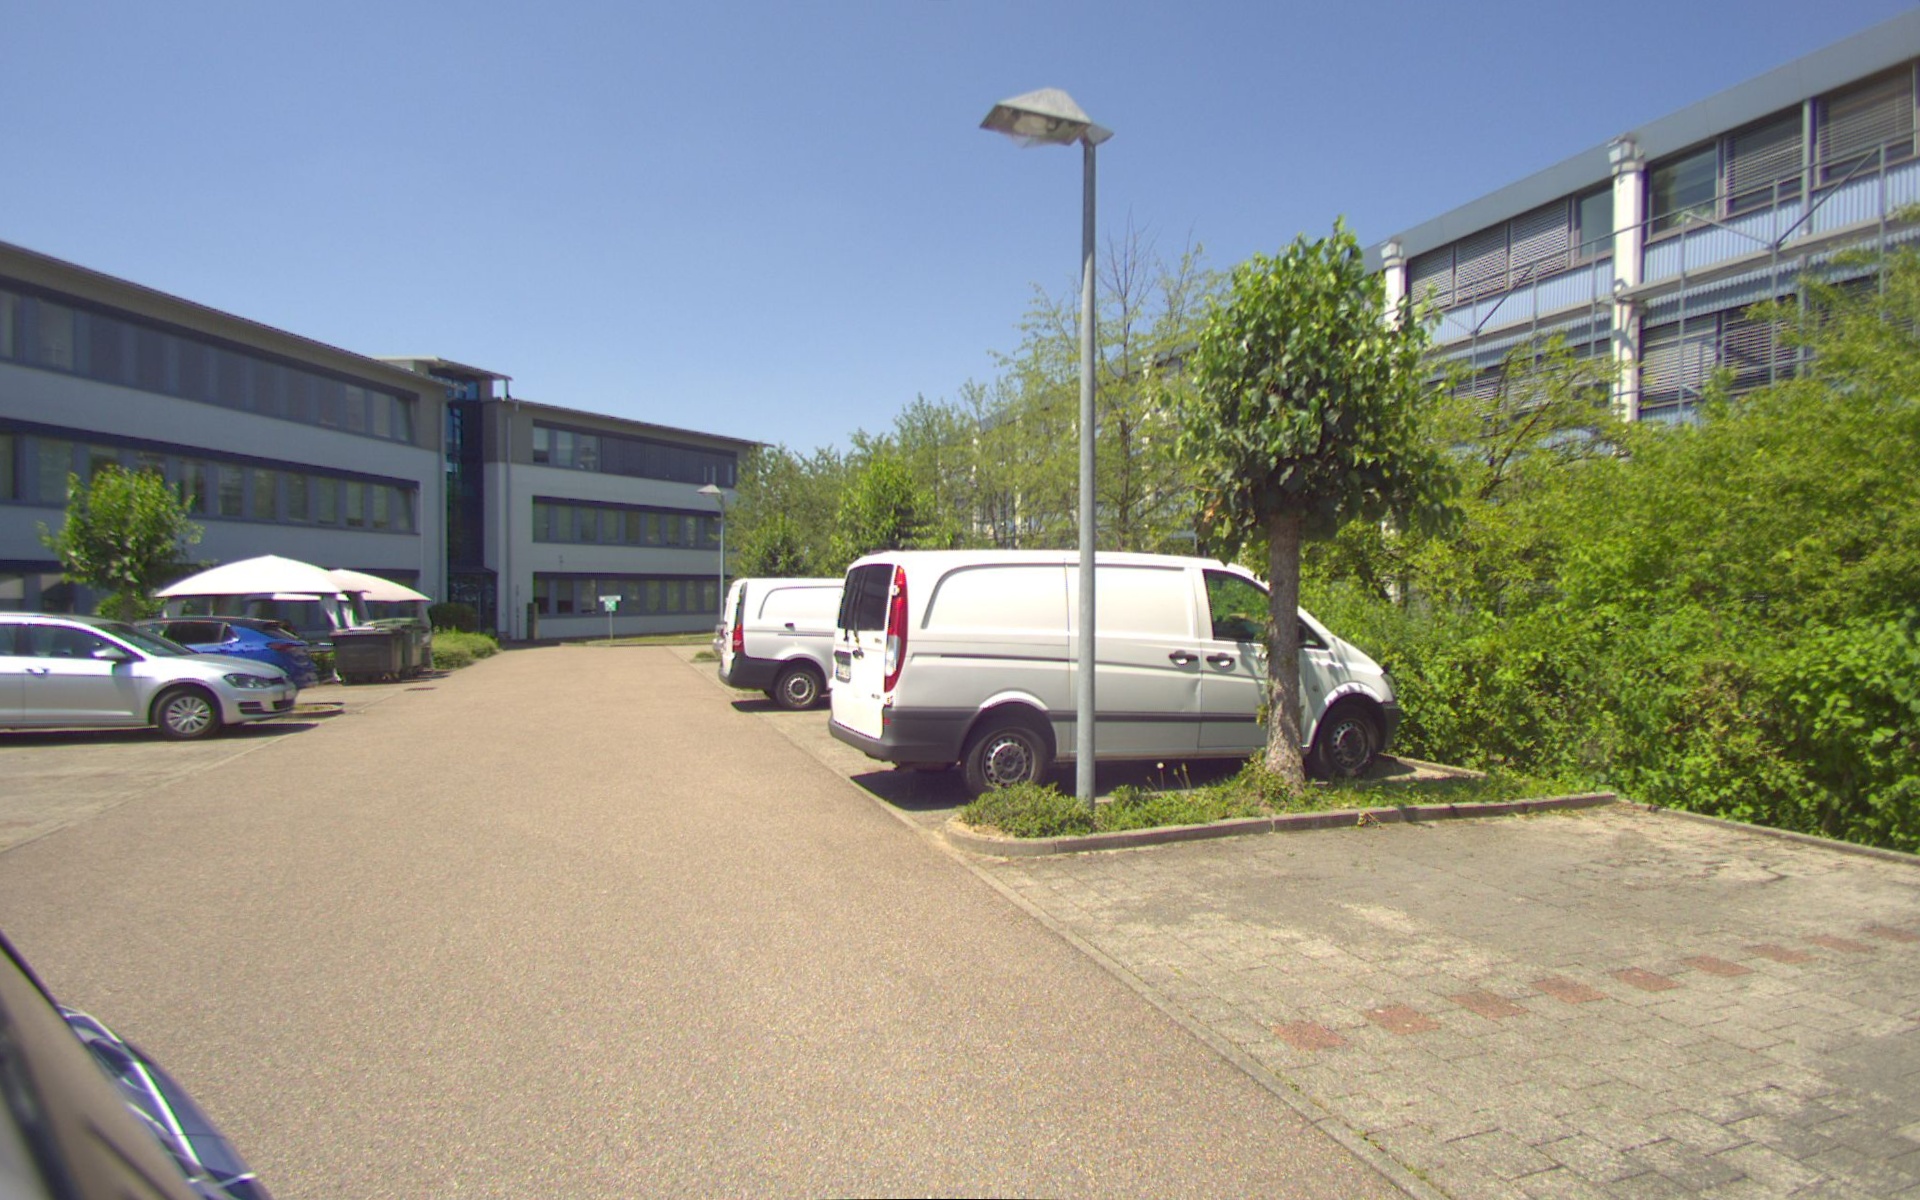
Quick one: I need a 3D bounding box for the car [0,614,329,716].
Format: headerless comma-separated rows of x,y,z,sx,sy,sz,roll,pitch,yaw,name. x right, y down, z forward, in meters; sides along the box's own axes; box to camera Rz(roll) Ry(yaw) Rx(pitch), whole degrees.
-11.970,0.943,15.382,3.761,1.402,1.657,1,-1,-20,car

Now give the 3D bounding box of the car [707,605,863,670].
-4.509,0.929,26.069,3.700,1.569,1.666,0,-1,-20,car

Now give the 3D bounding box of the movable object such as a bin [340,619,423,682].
-12.557,1.082,22.010,1.342,1.306,1.046,0,-1,-14,movable object such as a bin

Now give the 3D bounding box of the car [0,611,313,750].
-10.536,0.901,12.072,4.442,1.508,1.835,1,-1,-20,car

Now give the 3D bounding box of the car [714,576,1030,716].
-1.353,0.622,15.398,4.442,1.896,1.835,0,-1,-20,car

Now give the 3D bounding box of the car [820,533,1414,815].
1.311,0.504,8.577,4.653,1.920,1.835,0,-1,-20,car

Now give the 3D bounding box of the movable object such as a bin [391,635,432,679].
-12.488,1.293,23.062,0.679,0.956,0.724,0,-1,-14,movable object such as a bin

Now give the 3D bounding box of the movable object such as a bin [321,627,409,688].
-12.305,1.172,20.977,1.342,1.198,1.000,0,-1,-14,movable object such as a bin
